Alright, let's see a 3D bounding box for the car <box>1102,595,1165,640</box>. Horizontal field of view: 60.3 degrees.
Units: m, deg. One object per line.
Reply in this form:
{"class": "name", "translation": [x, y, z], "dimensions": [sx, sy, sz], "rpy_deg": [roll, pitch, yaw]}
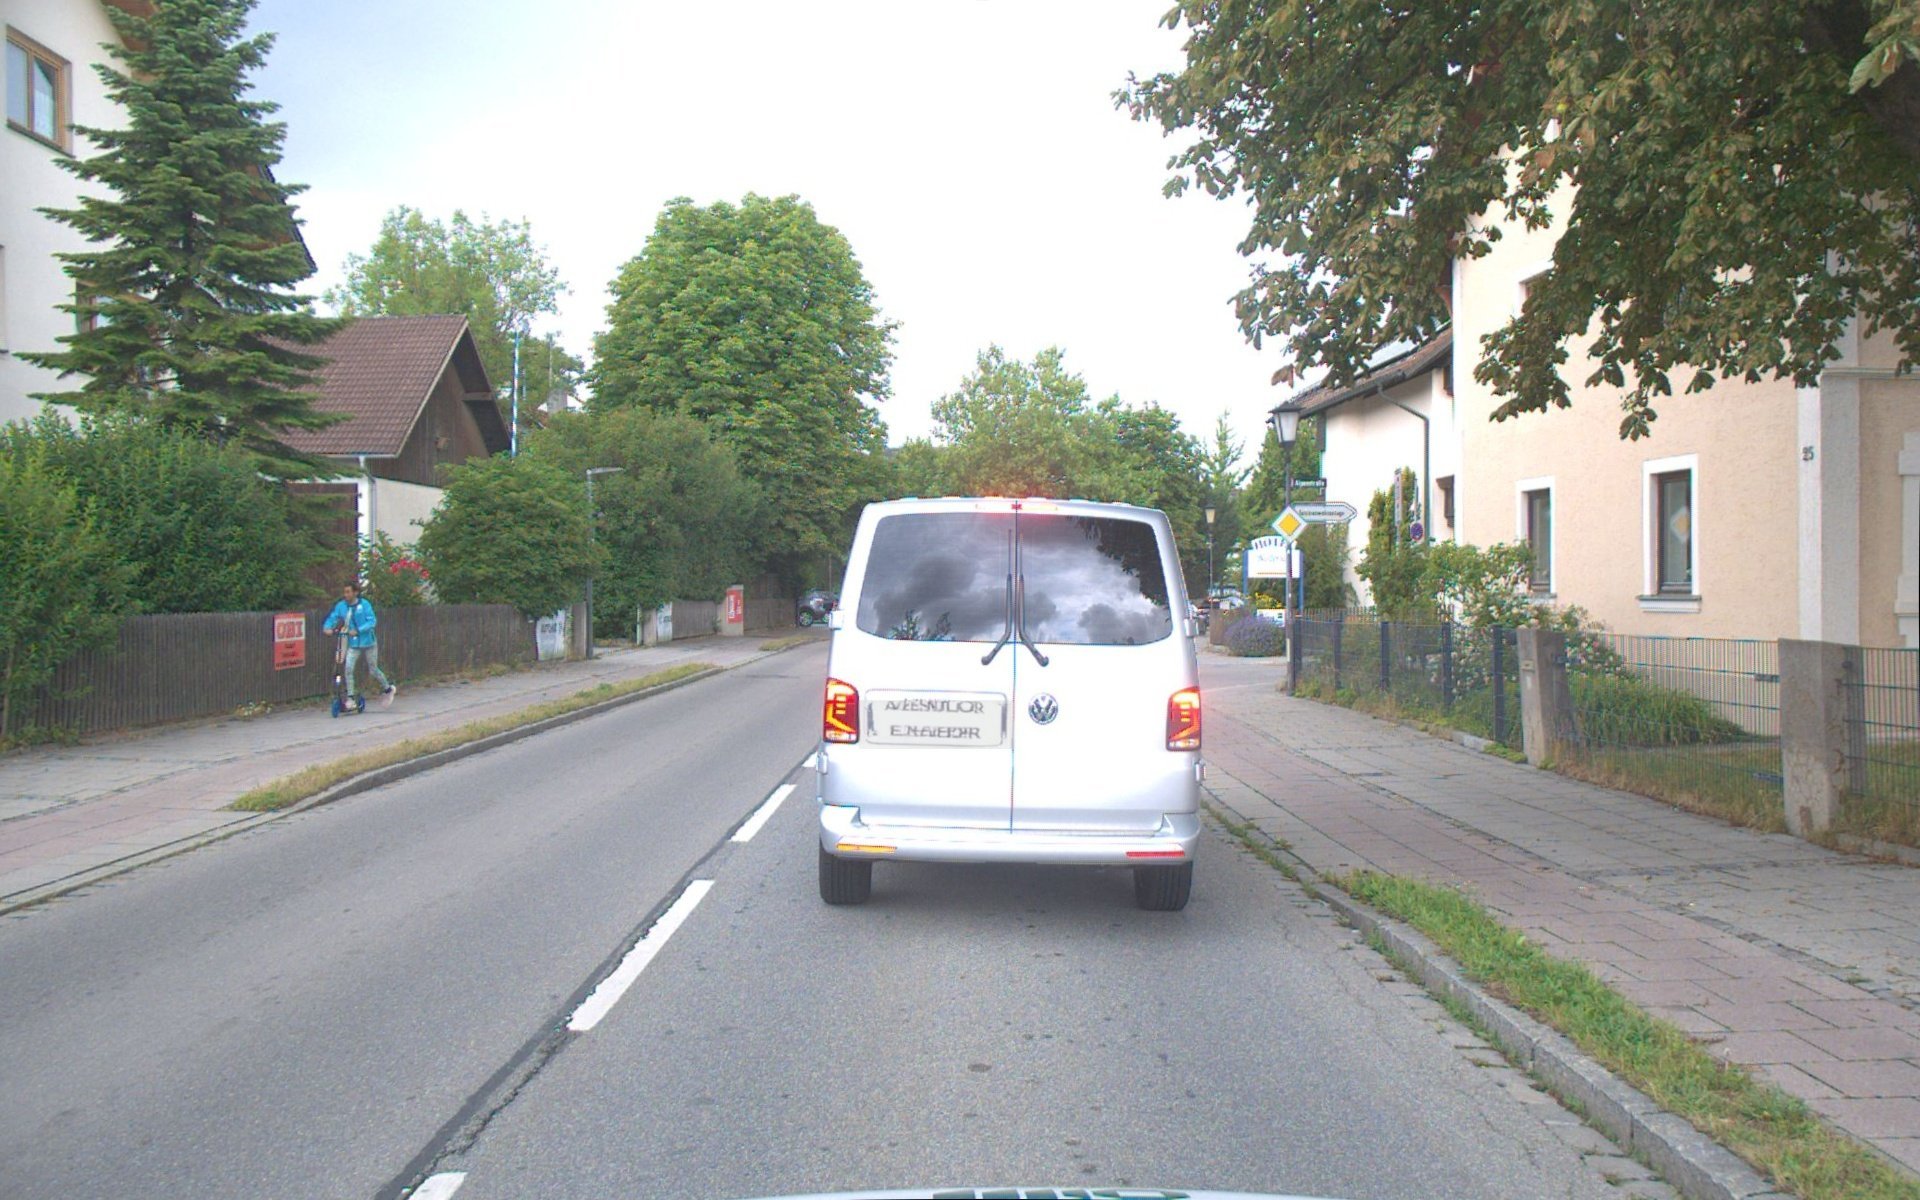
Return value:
{"class": "car", "translation": [6.204, 0.599, 58.865], "dimensions": [1.841, 1.562, 3.924], "rpy_deg": [0, 0, 11]}

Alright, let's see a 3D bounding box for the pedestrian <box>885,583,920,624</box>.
{"class": "pedestrian", "translation": [-2.596, 0.153, 74.858], "dimensions": [1.046, 1.834, 1.320], "rpy_deg": [0, 0, 30]}

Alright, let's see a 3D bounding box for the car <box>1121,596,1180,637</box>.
{"class": "car", "translation": [7.506, 0.616, 64.923], "dimensions": [1.841, 1.562, 3.924], "rpy_deg": [0, 0, 13]}

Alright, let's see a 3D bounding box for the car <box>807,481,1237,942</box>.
{"class": "car", "translation": [0.276, 0.470, 9.049], "dimensions": [1.842, 1.974, 3.920], "rpy_deg": [0, 0, 0]}

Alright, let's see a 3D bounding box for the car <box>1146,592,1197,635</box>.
{"class": "car", "translation": [9.205, 0.563, 71.794], "dimensions": [1.841, 1.779, 4.084], "rpy_deg": [0, 0, 12]}

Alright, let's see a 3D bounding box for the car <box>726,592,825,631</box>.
{"class": "car", "translation": [-7.432, 0.466, 66.466], "dimensions": [3.913, 1.512, 1.996], "rpy_deg": [0, 0, -9]}

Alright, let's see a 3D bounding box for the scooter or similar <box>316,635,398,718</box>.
{"class": "scooter or similar", "translation": [-6.658, 0.831, 18.308], "dimensions": [0.511, 0.865, 1.061], "rpy_deg": [0, 0, 0]}

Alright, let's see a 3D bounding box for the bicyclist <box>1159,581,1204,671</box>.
{"class": "bicyclist", "translation": [4.138, 0.484, 30.970], "dimensions": [0.721, 1.661, 0.890], "rpy_deg": [0, 0, 1]}

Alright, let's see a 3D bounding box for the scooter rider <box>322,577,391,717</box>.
{"class": "scooter rider", "translation": [-6.653, 0.505, 18.259], "dimensions": [0.492, 1.515, 0.716], "rpy_deg": [0, 0, 0]}

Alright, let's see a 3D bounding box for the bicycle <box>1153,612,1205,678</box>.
{"class": "bicycle", "translation": [4.090, 0.827, 30.971], "dimensions": [0.749, 1.163, 1.845], "rpy_deg": [0, 0, 1]}
